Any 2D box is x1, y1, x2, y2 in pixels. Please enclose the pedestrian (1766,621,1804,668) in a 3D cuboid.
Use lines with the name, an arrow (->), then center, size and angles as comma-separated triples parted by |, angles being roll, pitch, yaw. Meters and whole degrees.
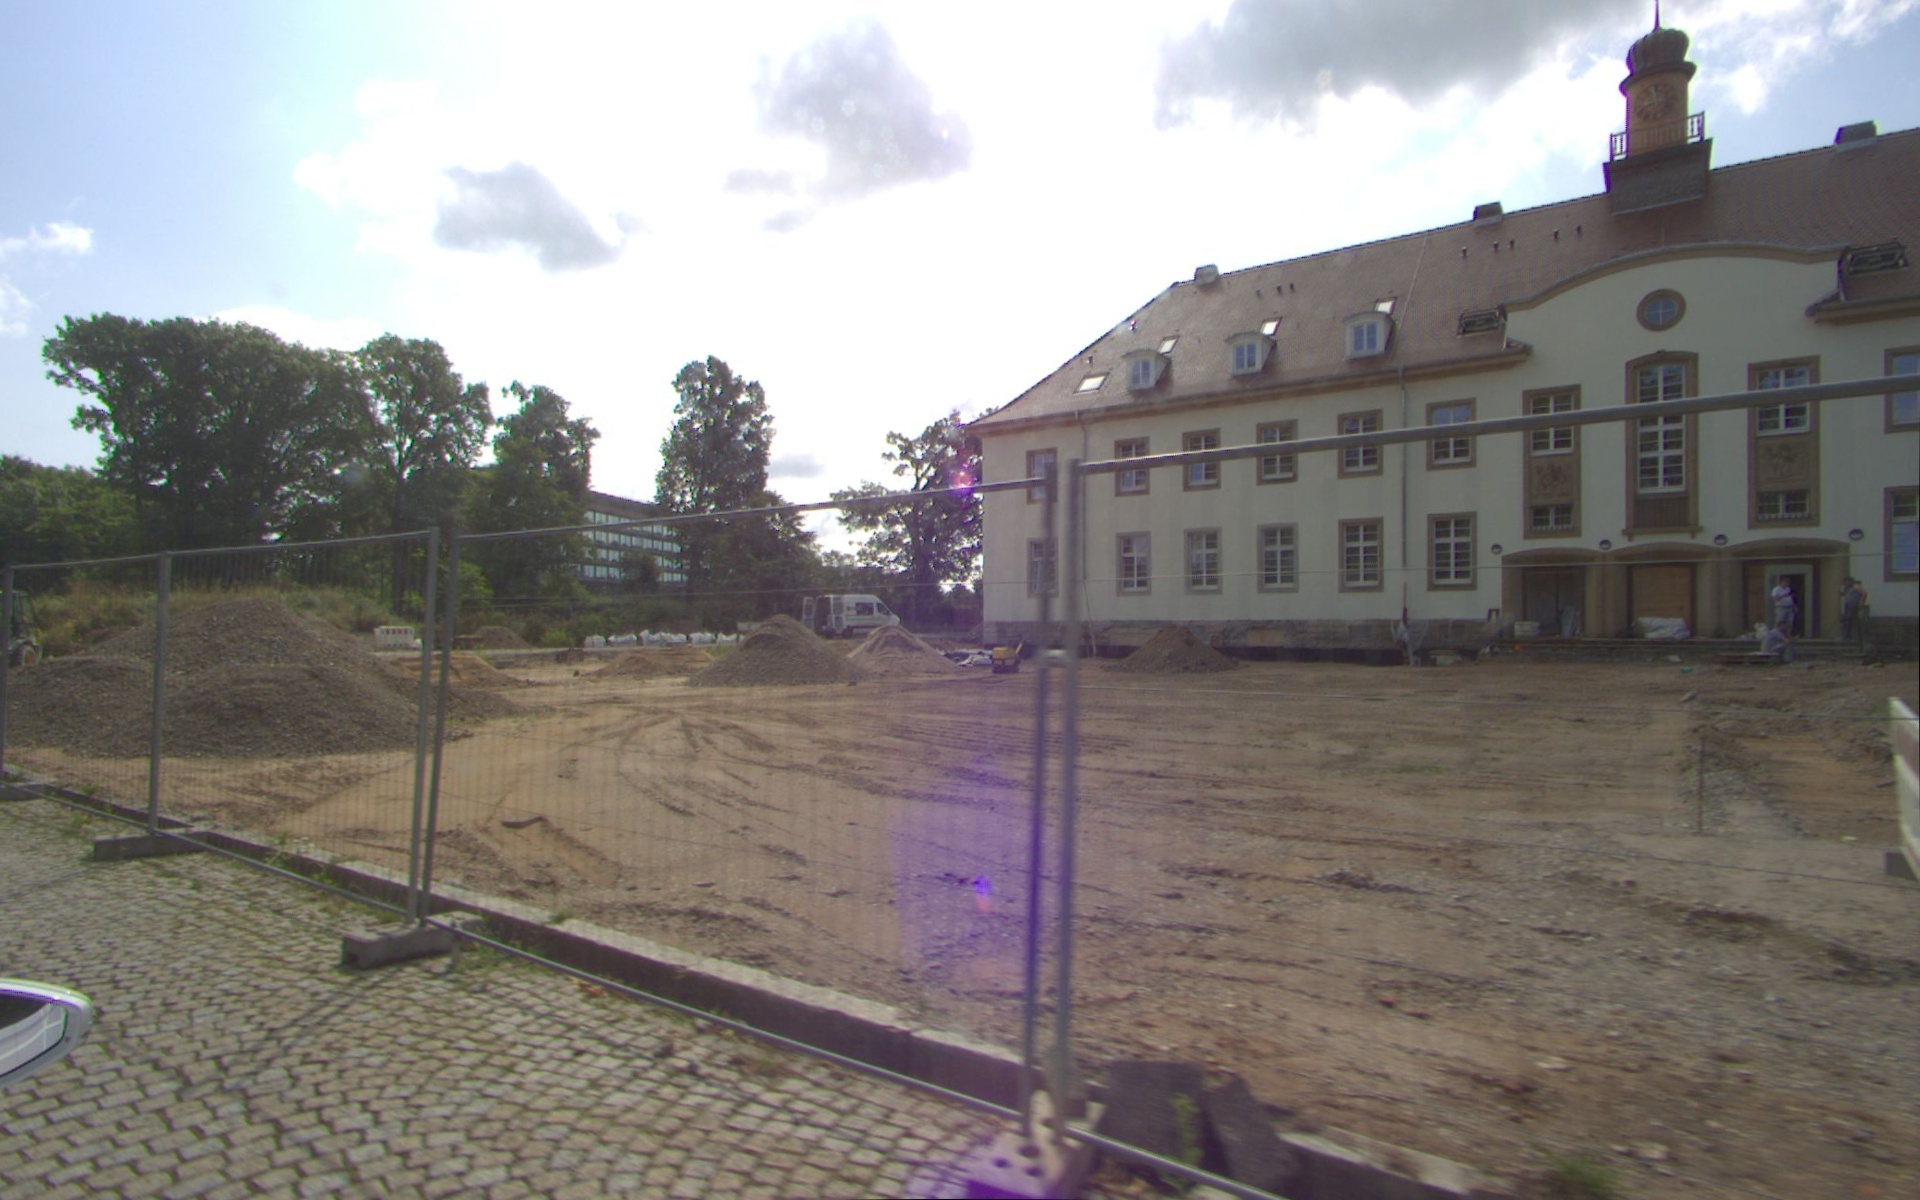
pedestrian -> 21.898, 1.181, 26.585 | 0.713, 1.225, 0.666 | 0, -1, 35

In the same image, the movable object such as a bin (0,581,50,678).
movable object such as a bin -> -27.389, 0.811, 27.657 | 2.103, 2.627, 4.771 | 0, -1, -27

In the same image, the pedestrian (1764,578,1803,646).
pedestrian -> 22.770, 0.339, 27.699 | 0.724, 1.858, 0.644 | 0, 0, 32

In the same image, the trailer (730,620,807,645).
trailer -> -10.986, 1.851, 57.474 | 3.944, 1.371, 2.077 | 1, -1, -31

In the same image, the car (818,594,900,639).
car -> -6.153, 1.033, 61.291 | 4.771, 2.677, 2.036 | 1, -1, -44

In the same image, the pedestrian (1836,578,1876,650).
pedestrian -> 23.817, 0.378, 26.635 | 0.637, 1.858, 0.874 | 0, -1, 31
